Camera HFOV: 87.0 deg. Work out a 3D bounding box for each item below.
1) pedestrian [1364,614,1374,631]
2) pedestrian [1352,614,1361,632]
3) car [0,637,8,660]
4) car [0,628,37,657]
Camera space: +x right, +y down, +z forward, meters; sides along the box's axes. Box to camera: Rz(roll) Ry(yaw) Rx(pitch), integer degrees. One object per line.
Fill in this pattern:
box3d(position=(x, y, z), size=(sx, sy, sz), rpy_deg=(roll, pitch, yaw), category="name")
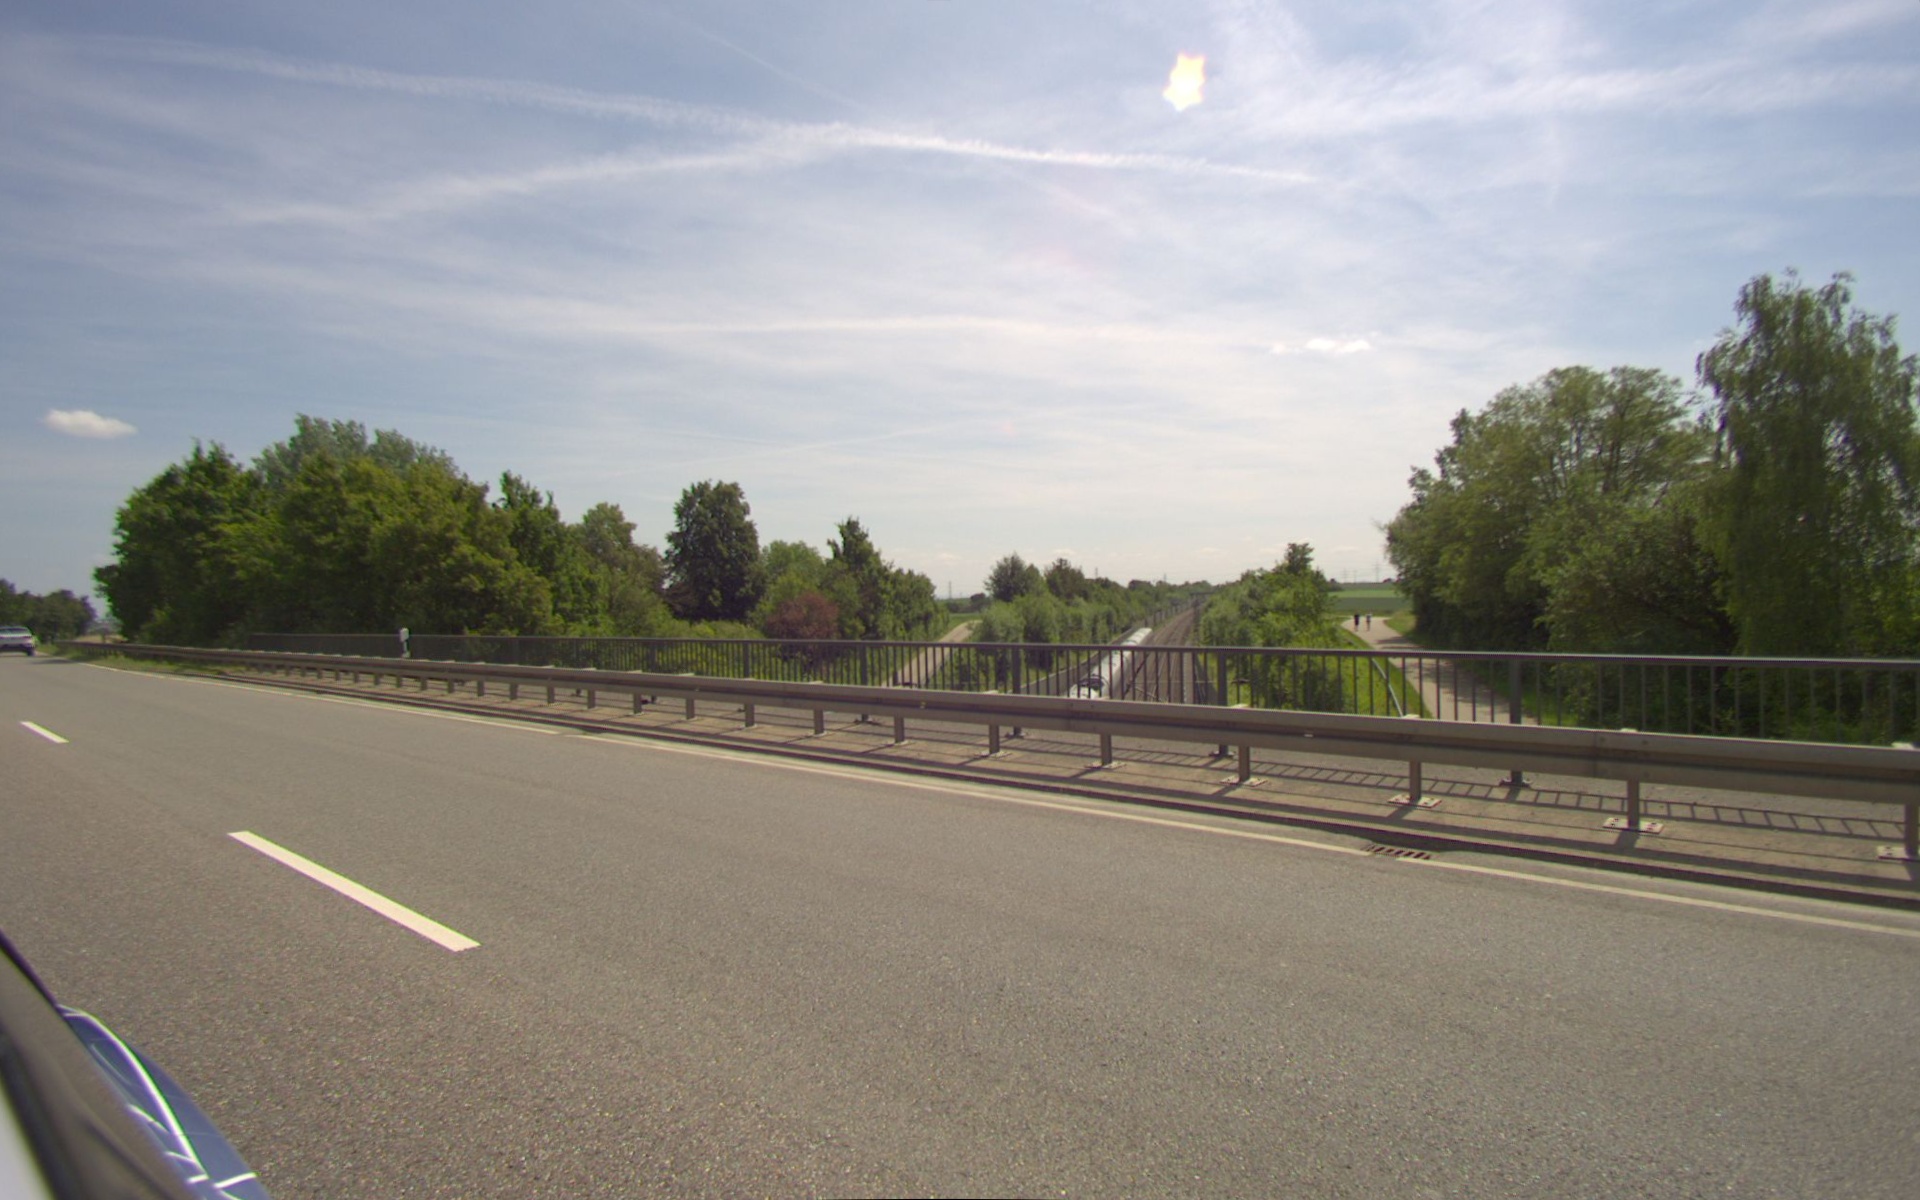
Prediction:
box3d(position=(38.543, 2.113, 95.328), size=(0.766, 1.652, 0.816), rpy_deg=(-1, 0, 15), category="pedestrian")
box3d(position=(37.286, 2.135, 95.184), size=(0.696, 1.652, 0.802), rpy_deg=(-1, 0, 15), category="pedestrian")
box3d(position=(-67.549, 3.390, 70.470), size=(4.339, 1.563, 1.641), rpy_deg=(-2, -2, 44), category="car")
box3d(position=(-50.900, 2.266, 54.280), size=(1.858, 1.523, 4.546), rpy_deg=(1, -2, -45), category="car")
